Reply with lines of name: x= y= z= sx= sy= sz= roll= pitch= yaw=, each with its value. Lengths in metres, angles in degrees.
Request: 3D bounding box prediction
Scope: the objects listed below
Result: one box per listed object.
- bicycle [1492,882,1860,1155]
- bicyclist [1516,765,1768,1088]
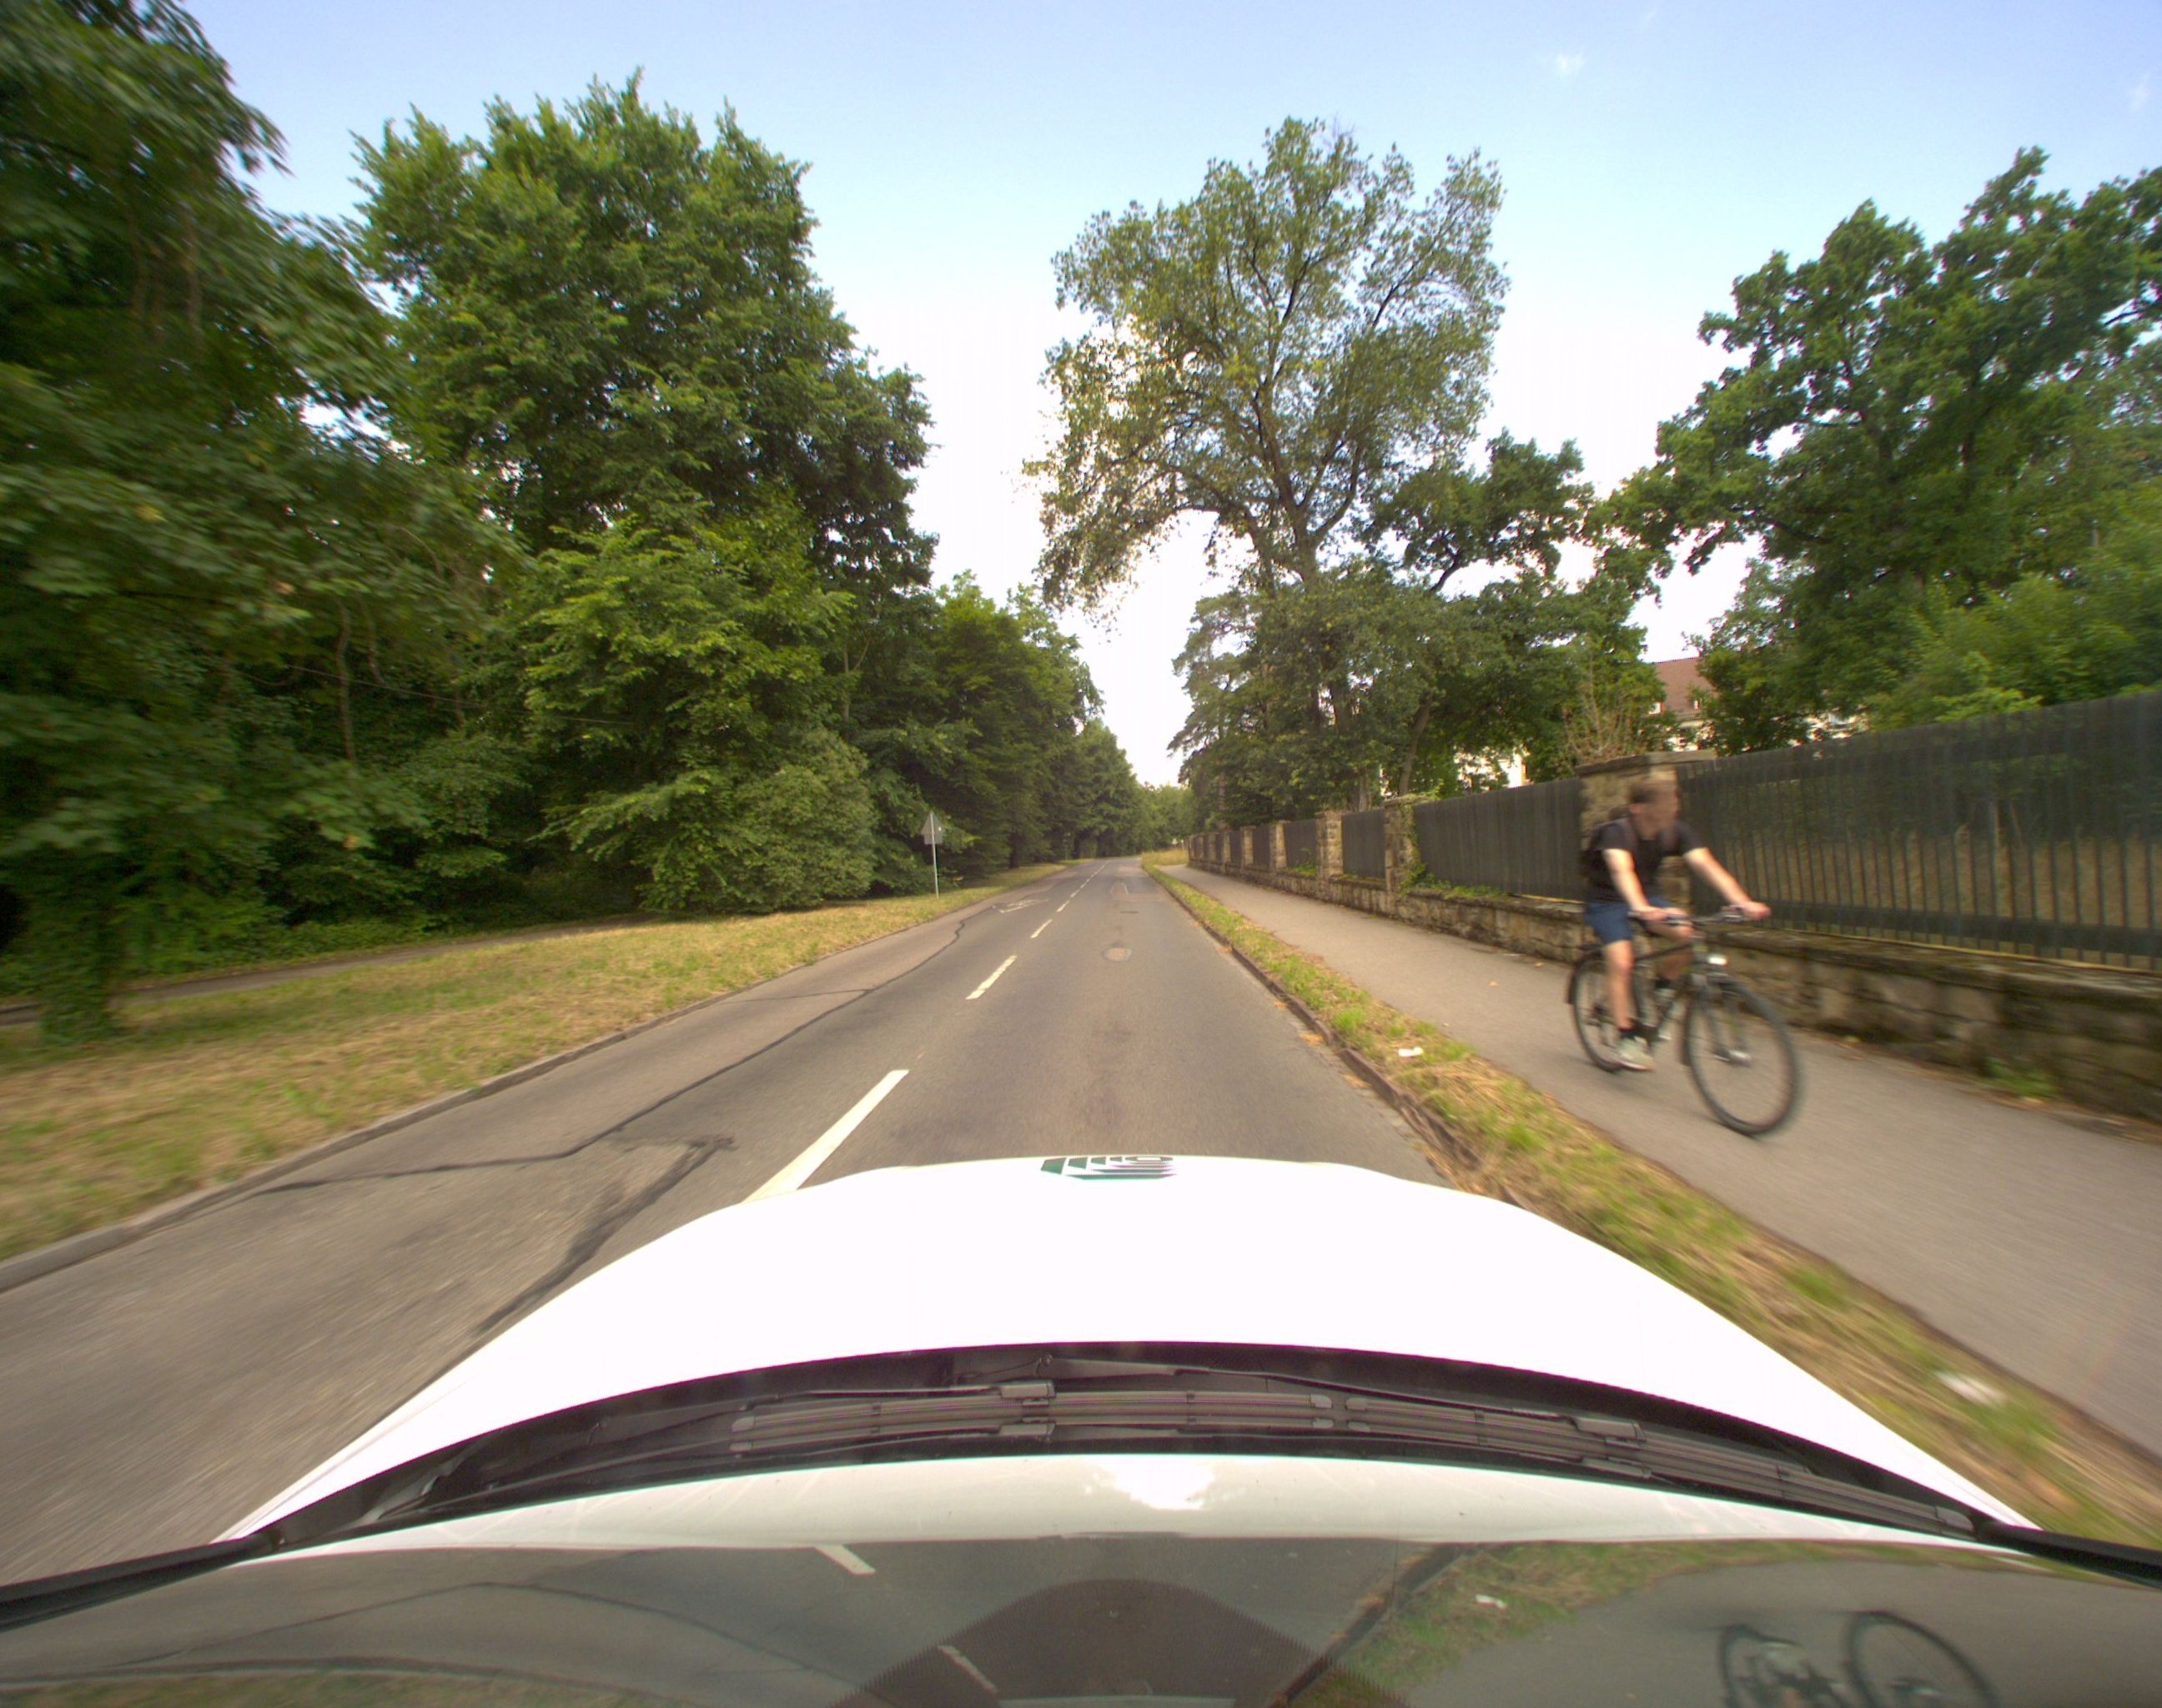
bicycle: x=3.164 y=0.765 z=4.667 sx=0.556 sy=1.072 sz=2.159 roll=-4 pitch=0 yaw=3
bicyclist: x=3.142 y=0.361 z=4.694 sx=0.567 sy=1.588 sz=1.206 roll=-4 pitch=0 yaw=3
